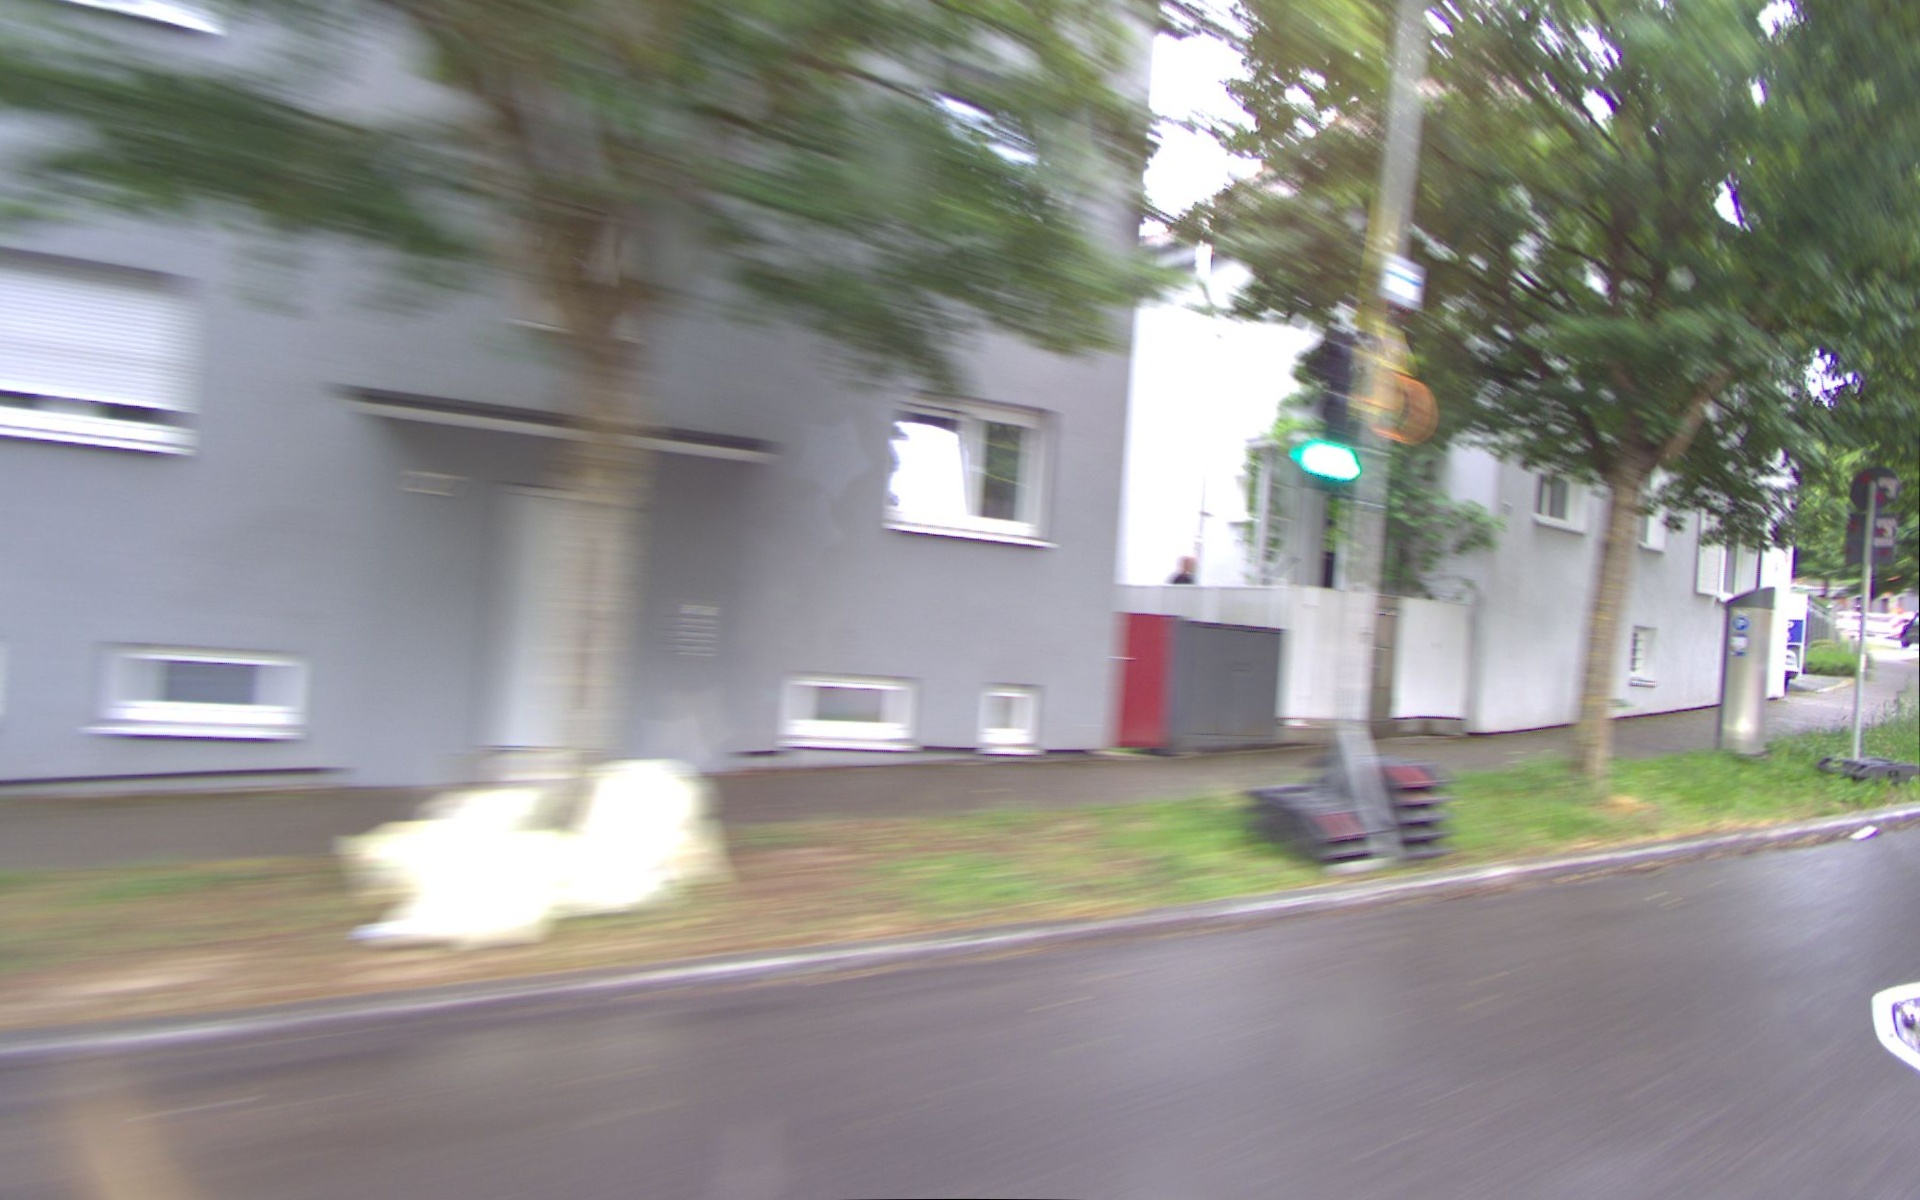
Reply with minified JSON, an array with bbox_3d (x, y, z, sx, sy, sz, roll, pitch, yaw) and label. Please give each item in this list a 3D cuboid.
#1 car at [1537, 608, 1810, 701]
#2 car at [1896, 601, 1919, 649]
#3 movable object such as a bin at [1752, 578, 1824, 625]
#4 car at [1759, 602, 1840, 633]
[{"bbox_3d":[13.613,0.970,19.381,1.732,1.581,3.961,1,-1,-35],"label":"car"},{"bbox_3d":[37.800,0.996,38.561,1.965,1.817,3.991,0,-2,32],"label":"car"},{"bbox_3d":[50.034,0.066,60.786,1.960,2.649,4.000,1,3,18],"label":"movable object such as a bin"},{"bbox_3d":[42.607,0.905,51.065,1.692,1.505,4.078,0,-2,17],"label":"car"}]
